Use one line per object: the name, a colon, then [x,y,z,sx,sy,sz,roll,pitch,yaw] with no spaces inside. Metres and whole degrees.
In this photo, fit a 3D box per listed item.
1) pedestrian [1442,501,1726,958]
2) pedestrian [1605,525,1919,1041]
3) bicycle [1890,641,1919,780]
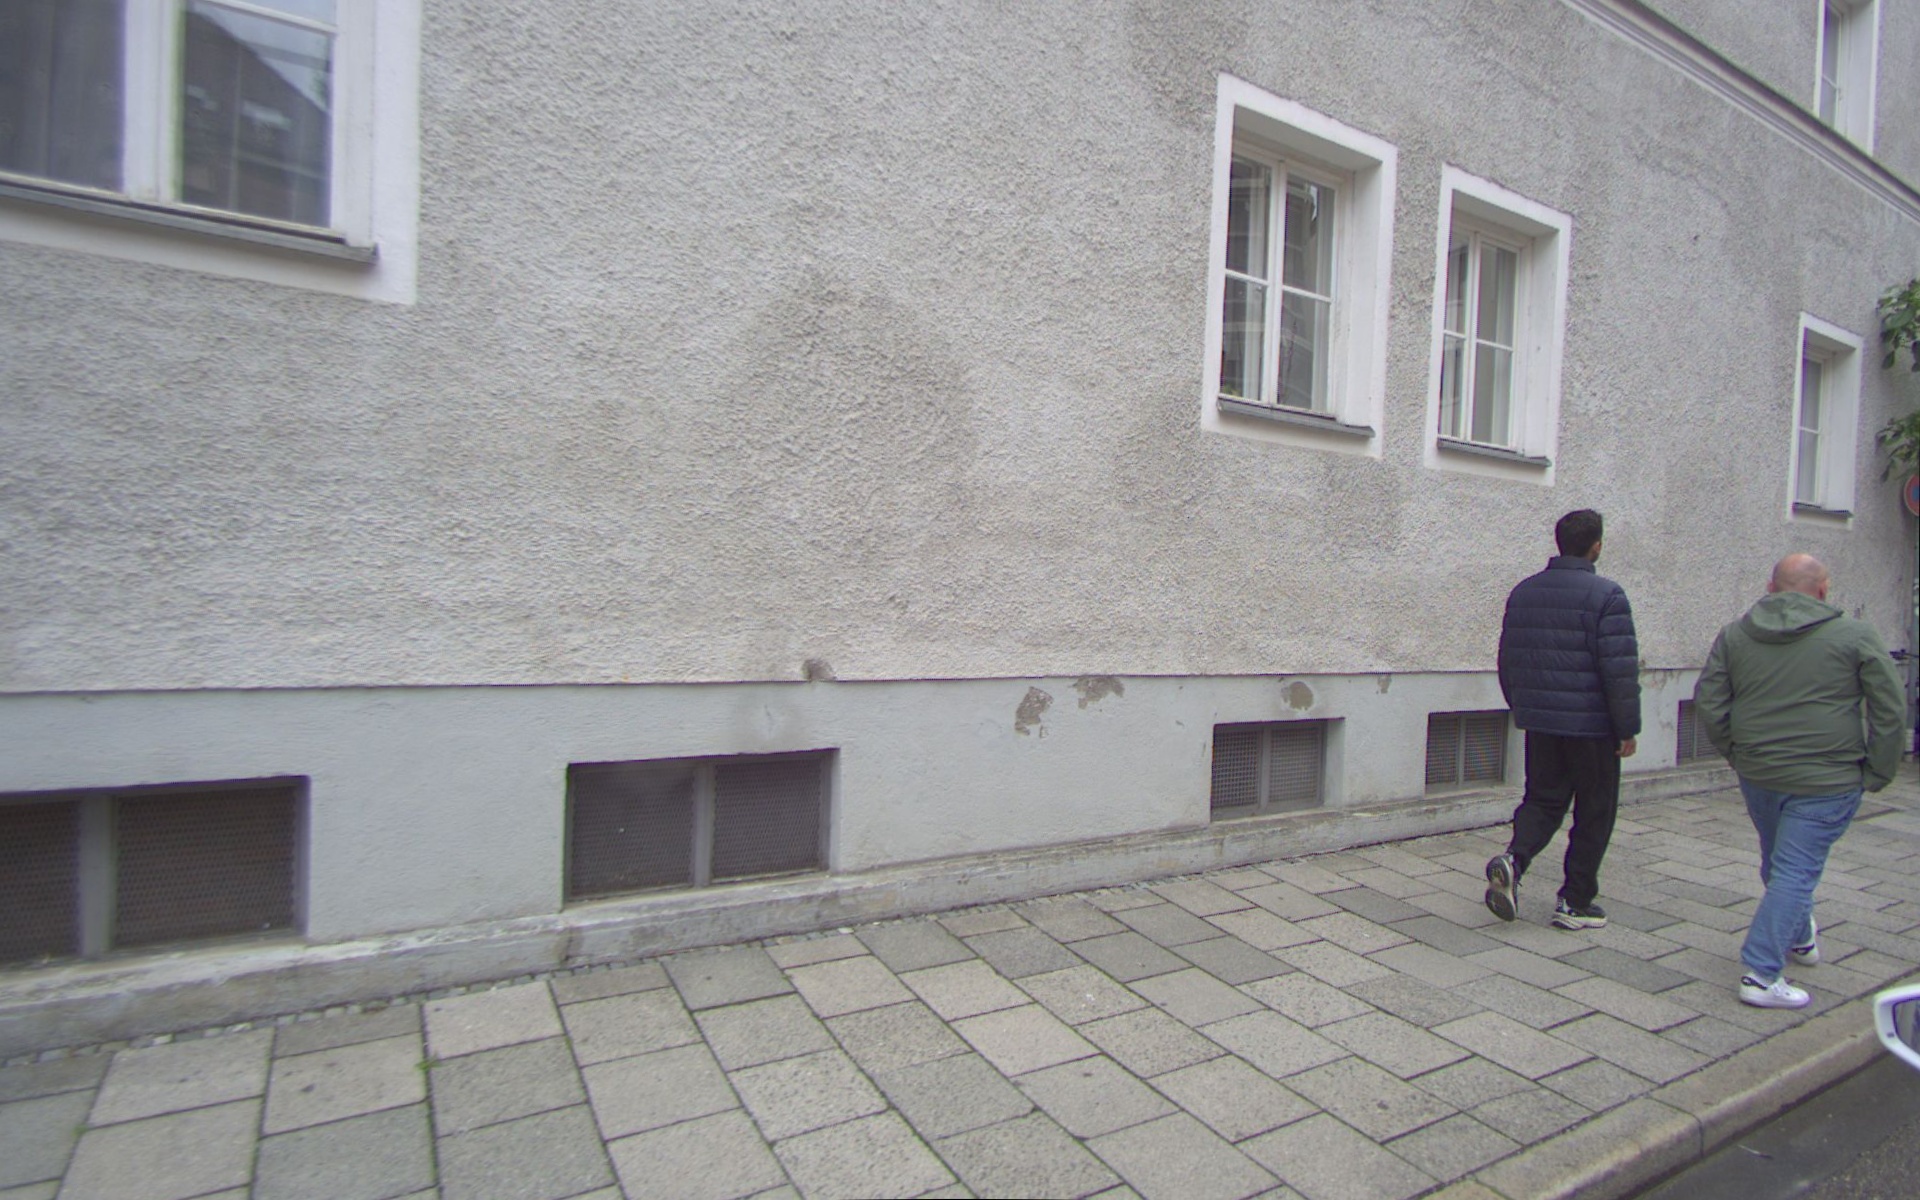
pedestrian: [2.636,0.492,4.266,0.814,1.736,0.609,2,3,-31]
pedestrian: [3.140,0.591,3.797,0.896,1.681,0.749,2,3,-30]
bicycle: [8.648,0.952,8.942,0.467,1.126,1.750,3,1,42]
